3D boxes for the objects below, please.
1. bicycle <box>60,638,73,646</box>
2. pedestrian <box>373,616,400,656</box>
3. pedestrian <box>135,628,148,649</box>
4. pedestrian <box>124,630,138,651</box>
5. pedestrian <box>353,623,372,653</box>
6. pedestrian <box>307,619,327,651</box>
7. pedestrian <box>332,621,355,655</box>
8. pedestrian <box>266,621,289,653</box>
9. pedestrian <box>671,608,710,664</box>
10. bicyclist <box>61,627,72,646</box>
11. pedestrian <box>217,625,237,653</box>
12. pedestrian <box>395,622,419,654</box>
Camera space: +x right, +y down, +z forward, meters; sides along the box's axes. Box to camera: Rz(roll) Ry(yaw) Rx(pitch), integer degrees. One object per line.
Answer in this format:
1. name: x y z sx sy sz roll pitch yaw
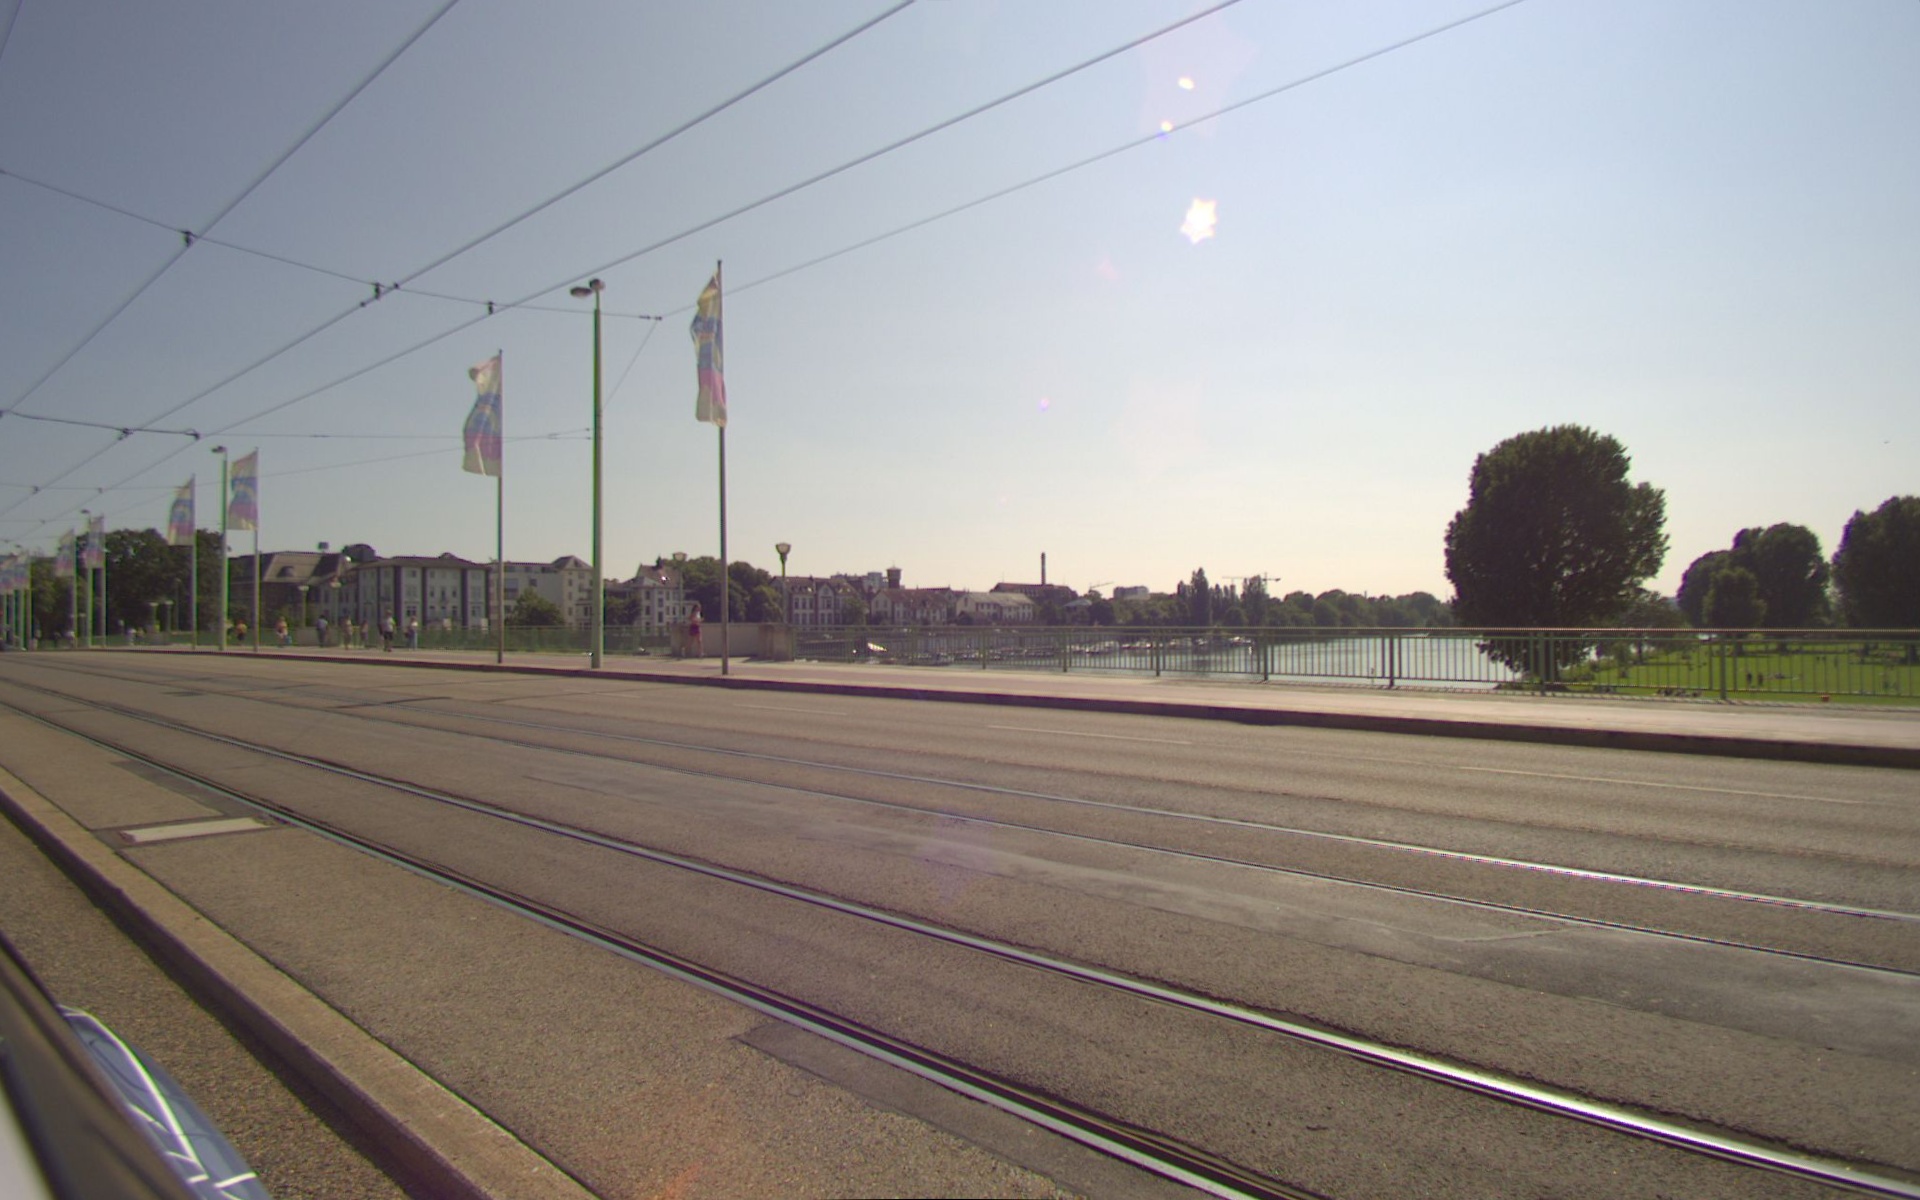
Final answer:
1. bicycle: -81.919 3.870 92.771 2.171 0.721 0.658 -2 -1 41
2. pedestrian: -25.544 1.594 45.073 1.022 1.712 0.663 -2 0 41
3. pedestrian: -69.158 3.269 85.524 0.904 1.712 0.584 -2 3 41
4. pedestrian: -69.442 3.395 84.765 1.022 1.712 0.584 -2 3 41
5. pedestrian: -29.444 1.882 49.858 0.788 1.448 0.540 -2 0 41
6. pedestrian: -34.803 1.894 54.754 1.022 1.712 0.584 -2 0 41
7. pedestrian: -30.027 1.847 49.265 1.022 1.611 0.620 -2 0 41
8. pedestrian: -37.364 2.005 55.387 1.022 1.712 0.777 -2 1 41
9. pedestrian: -8.470 1.134 31.771 1.022 1.703 0.677 -2 0 41
10. bicyclist: -81.888 3.358 92.736 0.621 1.663 0.657 -2 -2 42
11. pedestrian: -46.253 2.433 63.870 1.022 1.712 0.777 -2 1 41
12. pedestrian: -24.917 1.714 45.581 1.022 1.425 0.584 -2 0 41
